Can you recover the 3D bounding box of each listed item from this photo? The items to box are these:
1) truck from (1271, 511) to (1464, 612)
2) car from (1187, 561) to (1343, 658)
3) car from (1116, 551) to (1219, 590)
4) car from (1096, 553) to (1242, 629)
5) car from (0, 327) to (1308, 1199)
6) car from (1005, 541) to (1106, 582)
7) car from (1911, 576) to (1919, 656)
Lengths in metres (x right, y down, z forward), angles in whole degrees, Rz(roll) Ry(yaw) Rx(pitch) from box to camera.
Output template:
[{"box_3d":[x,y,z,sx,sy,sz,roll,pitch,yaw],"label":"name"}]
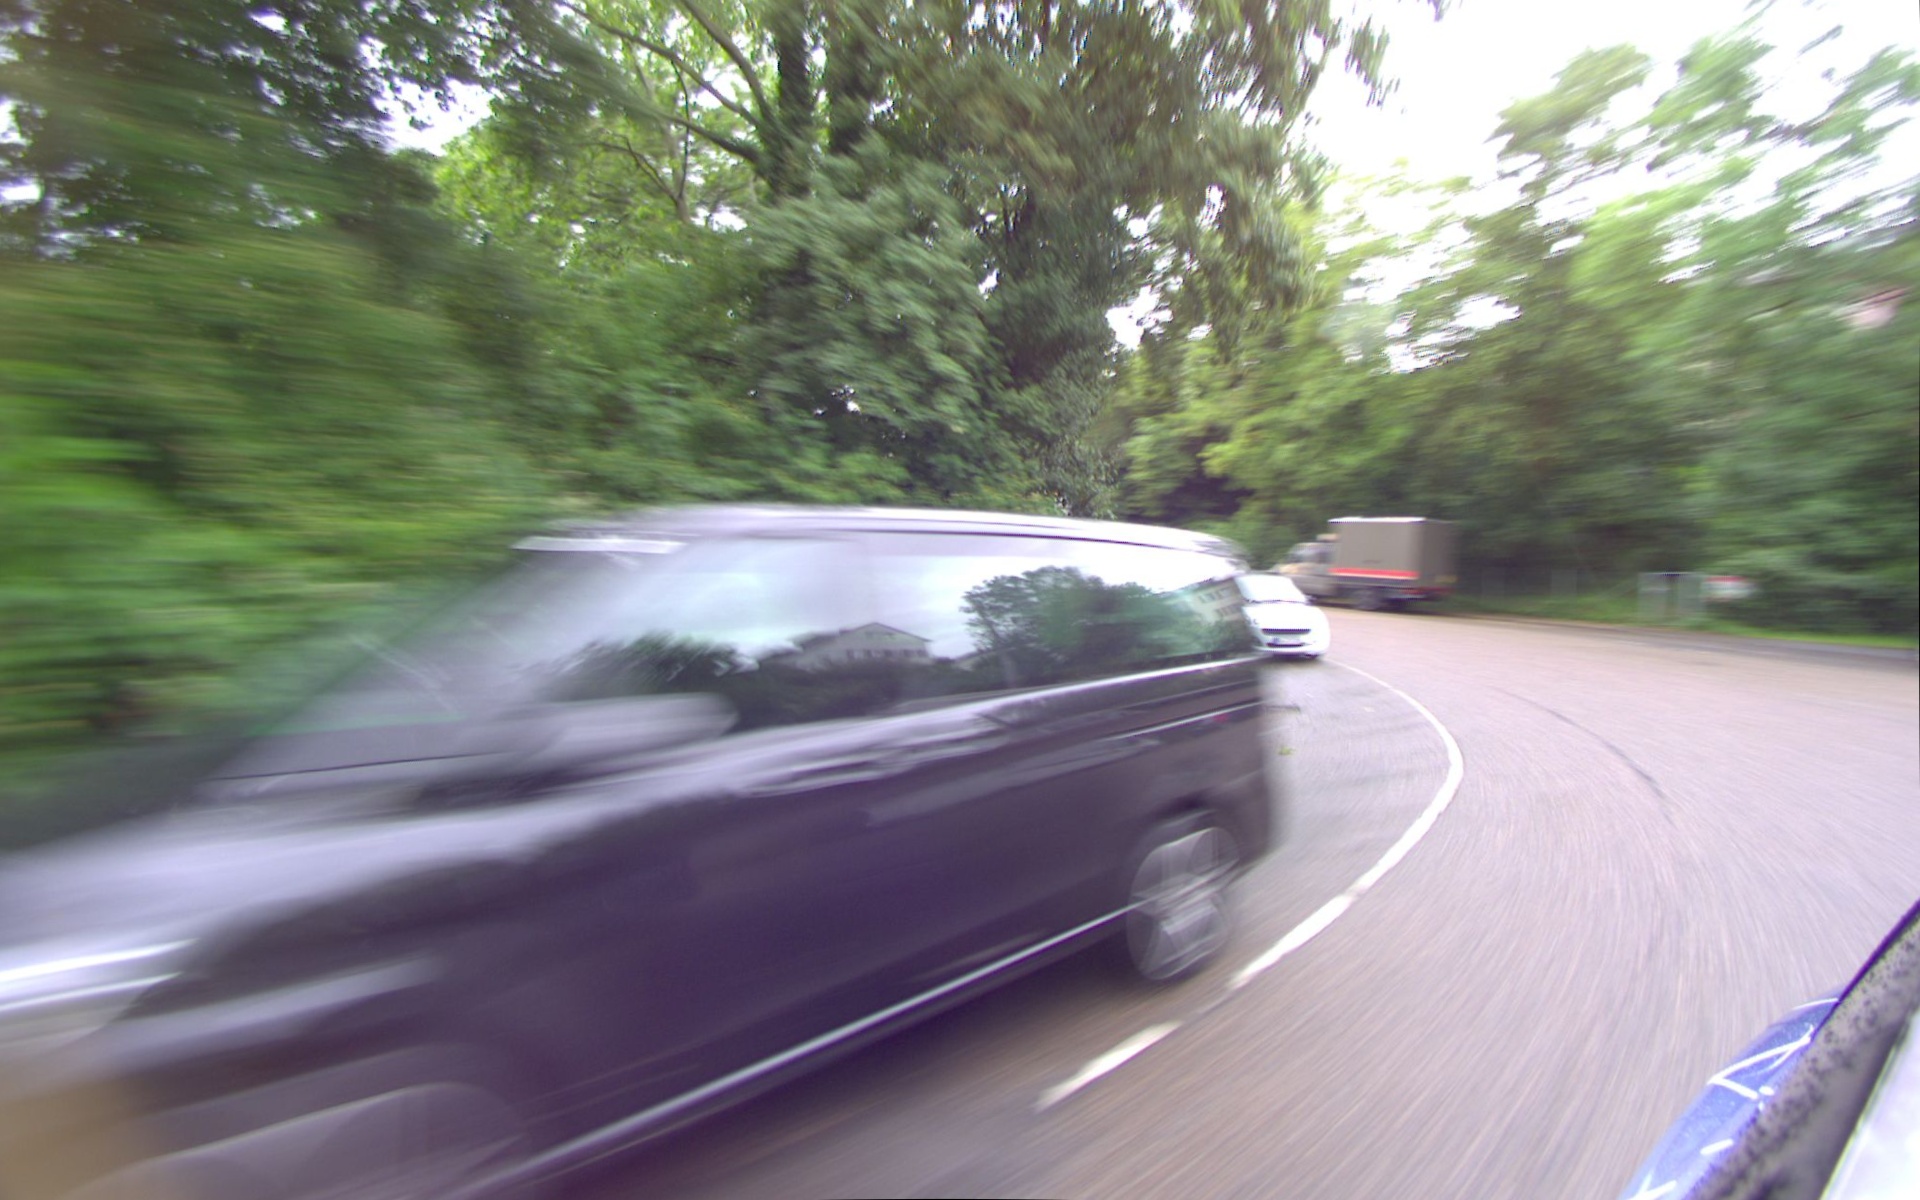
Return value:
[{"box_3d":[13.904,-1.399,34.996,2.186,3.097,5.957,2,2,-30],"label":"truck"},{"box_3d":[5.454,0.087,18.572,1.632,1.464,3.705,0,4,-1],"label":"car"},{"box_3d":[8.528,-1.219,41.774,3.813,1.315,1.577,6,3,41],"label":"car"},{"box_3d":[4.729,-0.284,23.502,1.645,1.446,3.999,0,5,-16],"label":"car"},{"box_3d":[-0.829,0.548,3.694,1.994,1.911,4.955,-2,-2,45],"label":"car"},{"box_3d":[4.254,-1.739,45.272,4.081,1.429,1.738,7,2,33],"label":"car"},{"box_3d":[18.786,0.424,16.764,1.963,1.481,4.371,1,3,2],"label":"car"}]
